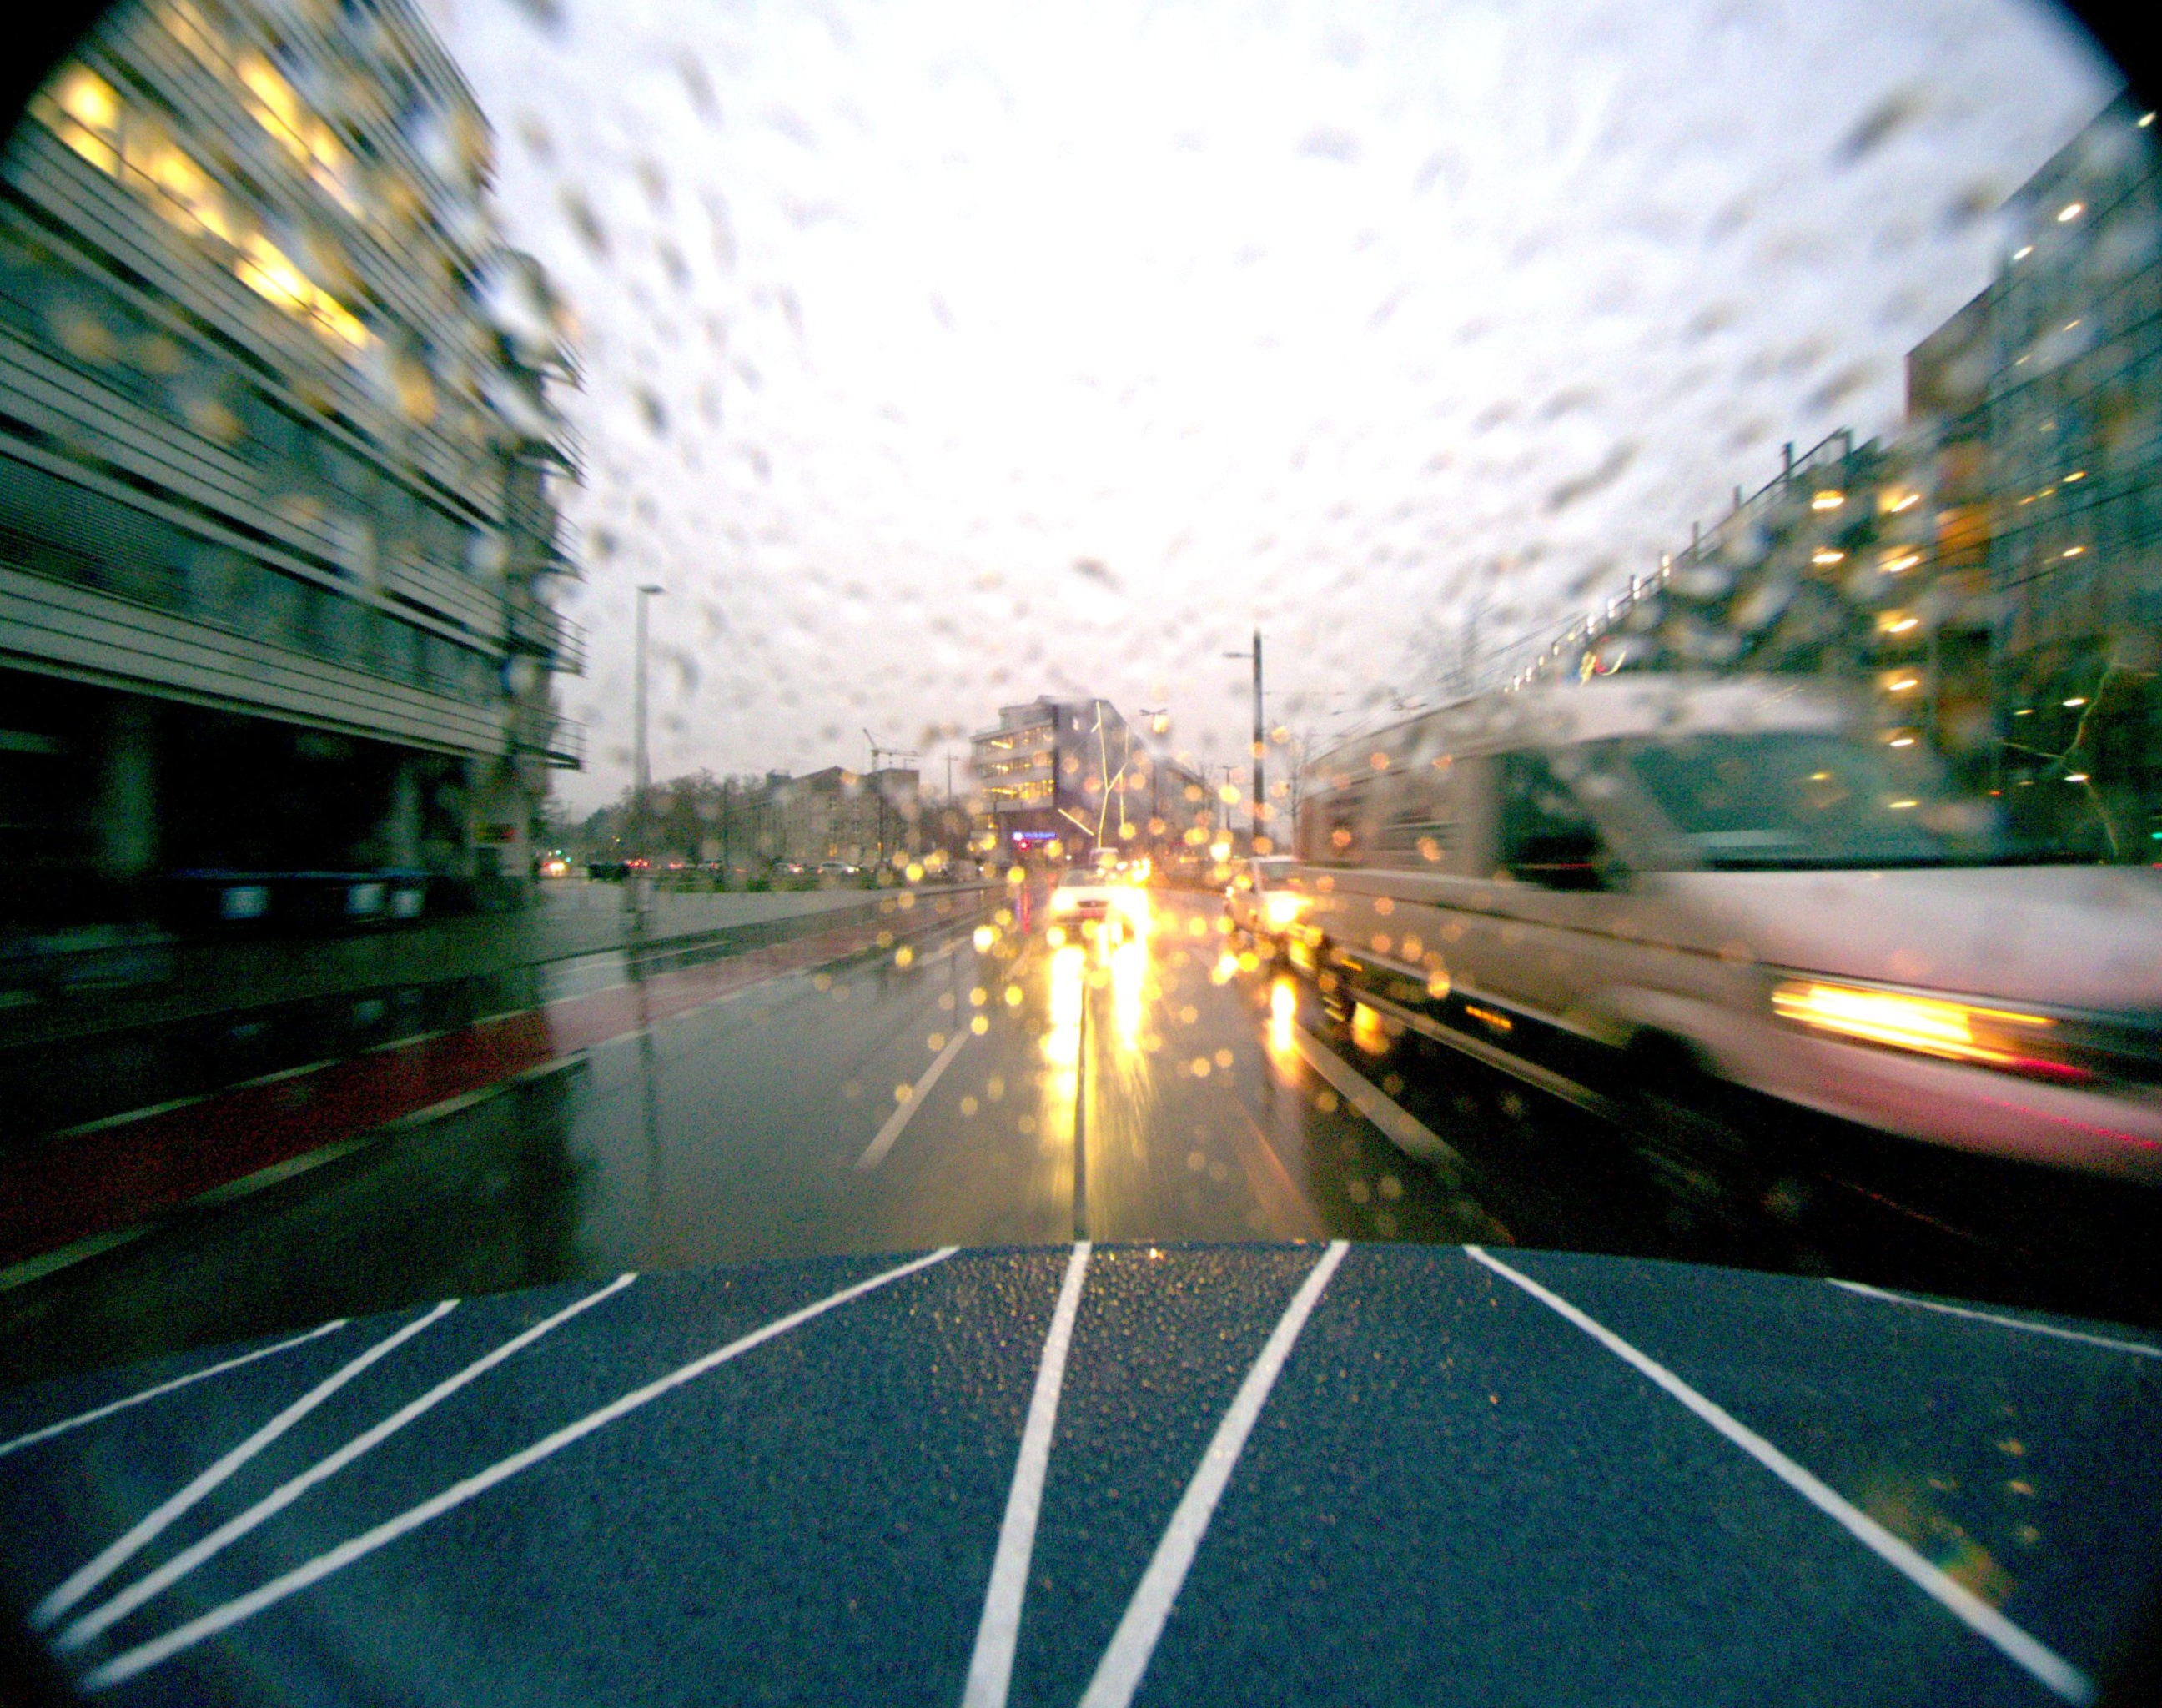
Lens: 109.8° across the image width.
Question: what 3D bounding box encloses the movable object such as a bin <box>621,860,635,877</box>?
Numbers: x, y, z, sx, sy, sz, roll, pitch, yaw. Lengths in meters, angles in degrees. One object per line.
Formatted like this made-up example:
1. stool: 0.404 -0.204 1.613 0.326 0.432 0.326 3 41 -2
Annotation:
1. movable object such as a bin: -39.933 1.273 66.966 1.055 1.501 1.249 -1 0 -33

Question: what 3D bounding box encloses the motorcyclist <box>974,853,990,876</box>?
1. motorcyclist: -8.083 0.829 62.128 0.919 1.871 0.888 0 1 43

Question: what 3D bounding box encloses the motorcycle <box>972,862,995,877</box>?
1. motorcycle: -8.015 1.259 62.237 0.485 1.176 2.402 -1 1 -45

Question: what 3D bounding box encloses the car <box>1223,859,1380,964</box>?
1. car: 3.498 0.842 12.732 1.642 1.487 3.686 -1 0 2

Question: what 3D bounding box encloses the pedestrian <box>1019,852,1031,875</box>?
1. pedestrian: -4.586 0.781 62.244 0.777 1.866 0.633 -1 1 -38

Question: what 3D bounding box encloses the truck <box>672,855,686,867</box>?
1. truck: -72.969 1.275 137.900 1.842 2.032 3.989 -1 0 -36

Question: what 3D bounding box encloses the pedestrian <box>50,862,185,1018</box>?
1. pedestrian: -10.858 0.938 8.589 0.532 1.673 0.745 -1 1 1

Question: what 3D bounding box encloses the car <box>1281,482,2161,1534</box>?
1. car: 3.205 0.346 4.781 1.999 2.413 5.972 -1 0 -3

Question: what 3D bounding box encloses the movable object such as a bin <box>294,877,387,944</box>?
1. movable object such as a bin: -15.140 1.134 15.576 0.847 1.286 1.167 1 0 -9

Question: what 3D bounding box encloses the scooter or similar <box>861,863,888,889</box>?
1. scooter or similar: -10.518 1.104 38.731 0.669 1.220 1.558 0 2 13

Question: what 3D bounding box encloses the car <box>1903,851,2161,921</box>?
1. car: 21.777 0.628 17.217 1.734 1.385 4.198 -1 0 -1

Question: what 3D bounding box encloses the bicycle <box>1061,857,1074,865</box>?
1. bicycle: -1.926 1.036 108.678 1.598 1.064 0.643 -1 0 17

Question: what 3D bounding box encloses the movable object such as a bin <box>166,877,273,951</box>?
1. movable object such as a bin: -16.070 1.100 14.213 0.868 1.286 1.012 1 0 -9

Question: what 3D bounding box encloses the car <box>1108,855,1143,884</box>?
1. car: 2.333 0.755 39.562 1.723 1.380 3.822 0 1 3

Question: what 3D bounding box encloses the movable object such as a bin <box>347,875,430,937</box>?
1. movable object such as a bin: -15.357 1.136 16.897 0.847 1.286 1.167 1 0 -9

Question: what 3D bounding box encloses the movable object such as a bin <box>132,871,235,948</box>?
1. movable object such as a bin: -17.092 1.033 14.509 0.731 1.375 1.079 1 0 -9

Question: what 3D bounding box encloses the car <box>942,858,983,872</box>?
1. car: -12.665 1.193 81.227 3.910 1.455 1.765 0 2 12

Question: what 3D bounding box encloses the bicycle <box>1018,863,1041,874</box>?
1. bicycle: -4.581 1.320 67.472 1.862 0.968 0.658 0 0 24

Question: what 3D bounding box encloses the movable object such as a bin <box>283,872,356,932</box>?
1. movable object such as a bin: -17.258 1.075 17.254 0.731 1.297 0.963 1 0 -9

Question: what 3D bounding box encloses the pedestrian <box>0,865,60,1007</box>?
1. pedestrian: -12.743 0.947 8.742 0.728 1.615 0.902 -1 1 1

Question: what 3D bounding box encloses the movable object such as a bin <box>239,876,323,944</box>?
1. movable object such as a bin: -16.159 1.107 15.373 0.731 1.297 0.963 1 0 -9

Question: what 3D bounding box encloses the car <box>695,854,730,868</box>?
1. car: -54.686 1.062 112.786 5.645 2.047 1.957 0 0 33

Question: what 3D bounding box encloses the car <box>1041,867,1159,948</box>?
1. car: 0.260 1.058 16.658 1.789 1.370 4.219 -2 1 -9

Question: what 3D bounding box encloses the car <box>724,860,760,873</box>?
1. car: -40.009 1.478 89.676 4.159 1.466 1.881 -1 1 31

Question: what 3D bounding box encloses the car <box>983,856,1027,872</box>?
1. car: -7.603 0.973 76.006 3.997 1.590 1.906 0 0 21

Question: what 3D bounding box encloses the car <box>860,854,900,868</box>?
1. car: -26.174 0.870 98.954 4.603 1.709 1.931 -1 0 8

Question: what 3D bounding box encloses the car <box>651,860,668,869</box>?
1. car: -63.789 1.567 114.892 1.756 1.362 3.605 -1 0 -37

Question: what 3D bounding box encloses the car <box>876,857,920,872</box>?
1. car: -19.989 1.169 82.998 4.353 1.561 1.829 0 0 16

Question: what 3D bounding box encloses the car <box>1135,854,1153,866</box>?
1. car: 9.022 0.778 108.361 1.830 1.652 4.005 -1 0 17

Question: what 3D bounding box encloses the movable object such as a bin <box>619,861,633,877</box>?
1. movable object such as a bin: -40.851 1.323 68.186 1.055 1.423 1.222 -1 0 -33

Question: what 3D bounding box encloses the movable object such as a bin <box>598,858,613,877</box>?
1. movable object such as a bin: -41.386 1.175 66.121 1.055 1.566 1.137 -1 0 -33

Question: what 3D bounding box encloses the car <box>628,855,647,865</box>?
1. car: -88.350 1.201 151.433 4.948 1.861 1.908 1 4 44

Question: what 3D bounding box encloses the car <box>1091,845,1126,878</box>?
1. car: 2.142 0.530 60.447 2.242 2.449 5.667 -1 1 -3

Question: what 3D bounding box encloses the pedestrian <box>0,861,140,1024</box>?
1. pedestrian: -11.530 0.928 8.435 0.795 1.676 1.069 -1 1 1

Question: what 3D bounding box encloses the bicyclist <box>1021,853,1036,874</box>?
1. bicyclist: -4.661 0.842 67.542 0.987 1.879 0.794 0 1 24

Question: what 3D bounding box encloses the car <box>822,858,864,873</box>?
1. car: -26.580 1.255 84.833 4.214 1.590 1.679 0 0 16

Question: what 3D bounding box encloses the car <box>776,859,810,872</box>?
1. car: -32.864 1.304 86.797 3.339 1.422 1.693 0 1 19
